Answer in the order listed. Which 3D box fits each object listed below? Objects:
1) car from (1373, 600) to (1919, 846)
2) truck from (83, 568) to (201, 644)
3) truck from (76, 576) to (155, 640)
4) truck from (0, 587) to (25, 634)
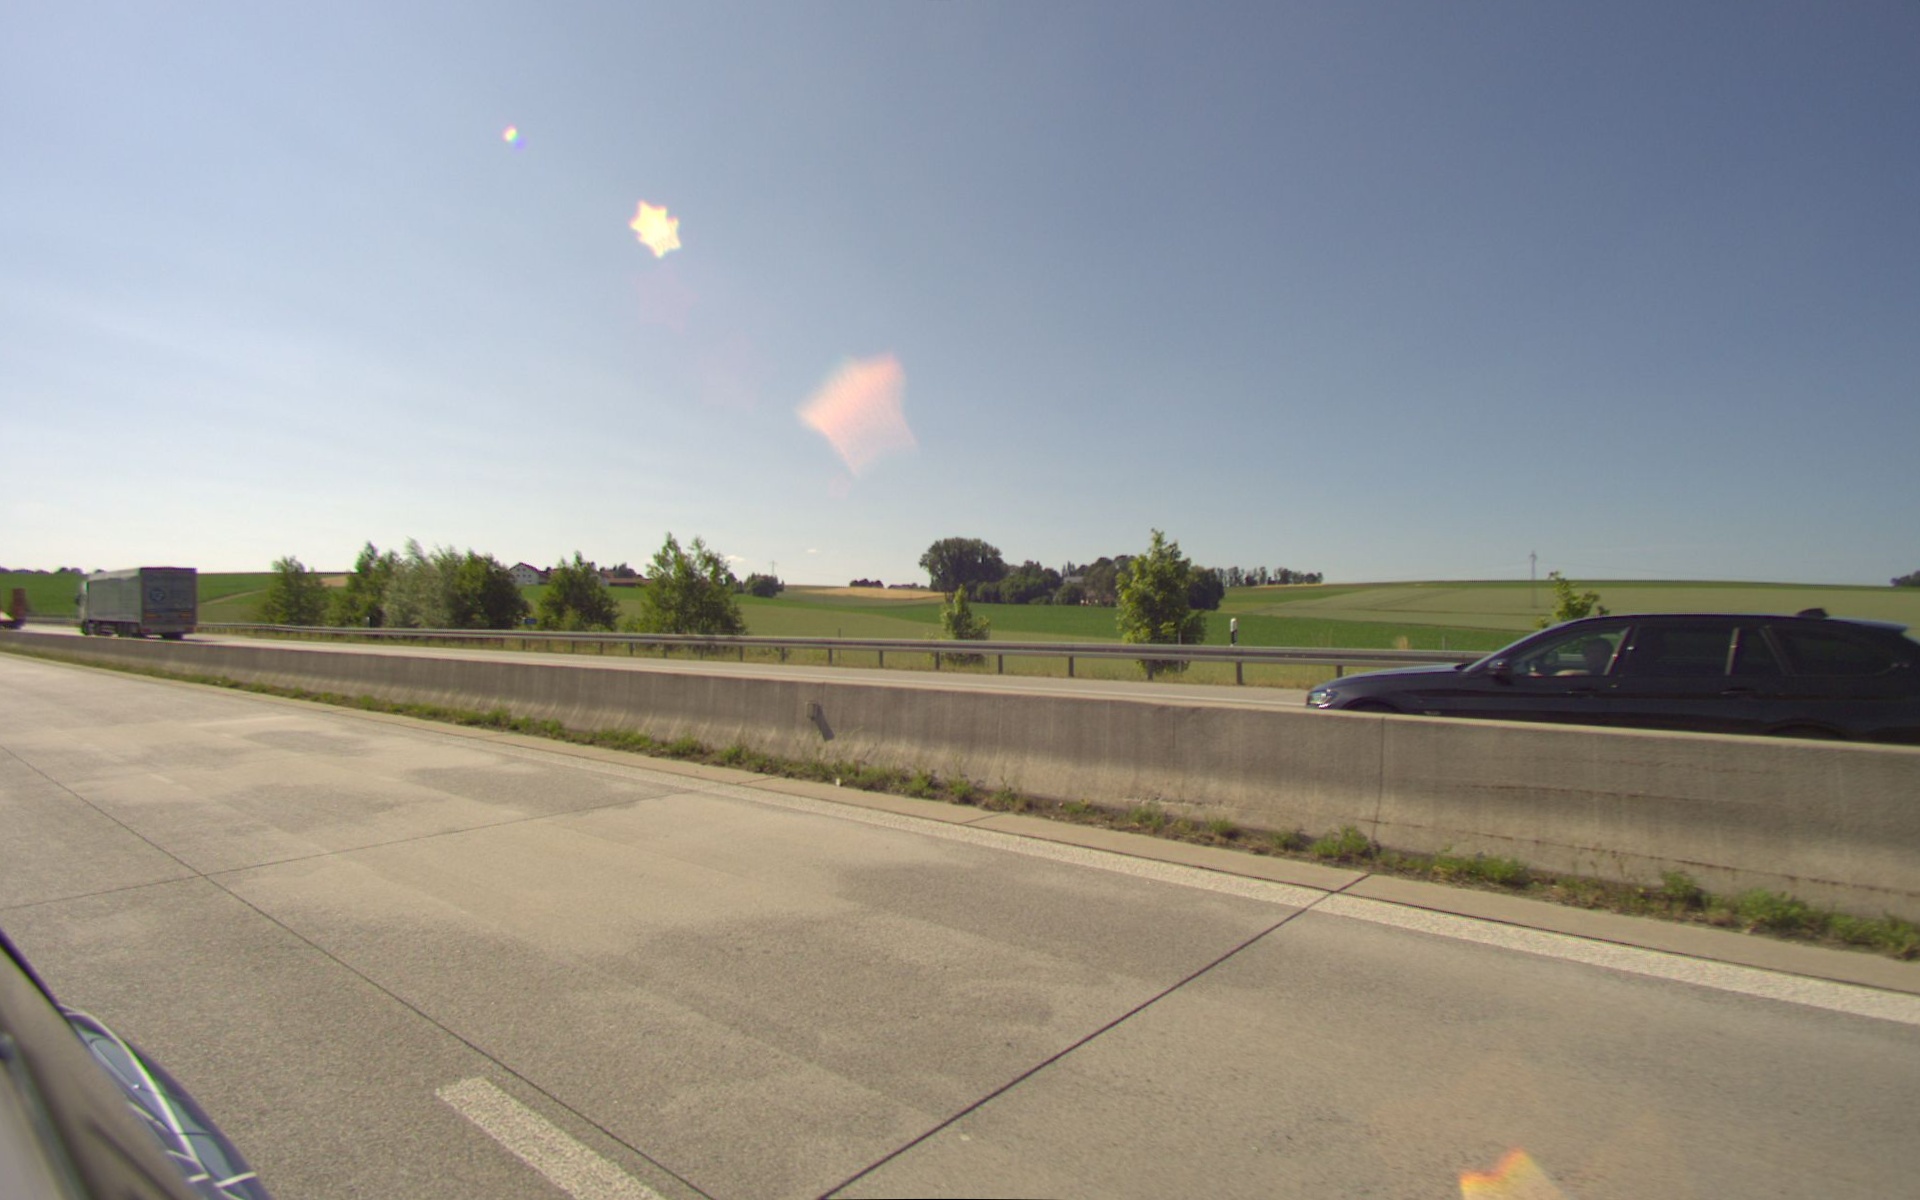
[{"bbox_3d":[5.944,0.811,8.068,4.624,1.601,1.693,0,0,40],"label":"car"},{"bbox_3d":[-48.539,0.405,59.795,13.857,4.038,2.831,-1,-1,40],"label":"truck"},{"bbox_3d":[-53.343,0.528,63.911,5.979,3.903,2.832,-1,-1,40],"label":"truck"},{"bbox_3d":[-89.799,0.959,93.429,17.098,4.046,2.839,-1,-1,40],"label":"truck"}]
